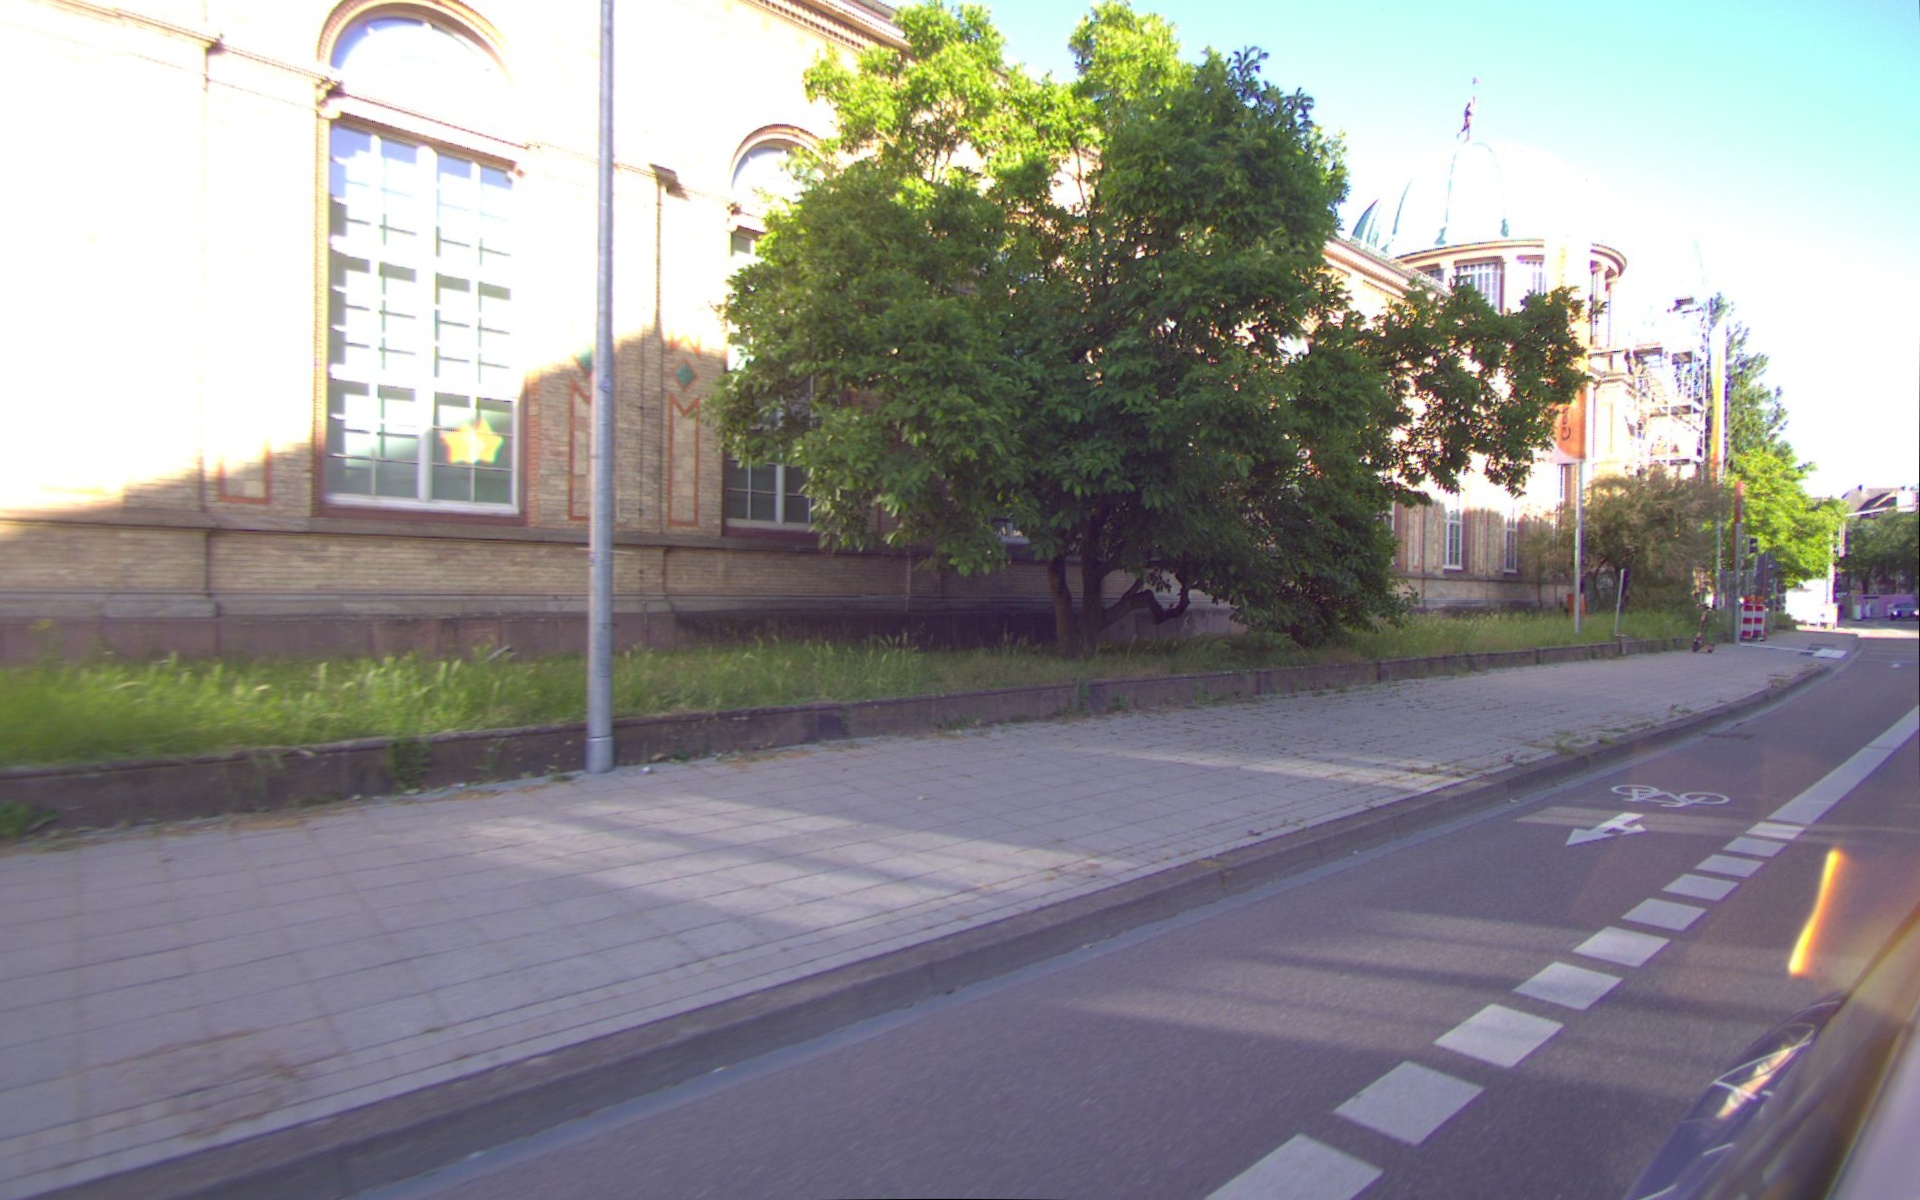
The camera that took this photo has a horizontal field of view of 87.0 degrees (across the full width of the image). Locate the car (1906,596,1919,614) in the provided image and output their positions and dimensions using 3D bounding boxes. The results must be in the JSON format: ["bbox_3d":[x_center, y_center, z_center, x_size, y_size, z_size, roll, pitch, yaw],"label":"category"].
[{"bbox_3d":[73.985,0.381,77.901,1.550,1.311,3.580,6,4,44],"label":"car"}]

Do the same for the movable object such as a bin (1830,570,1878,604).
[{"bbox_3d":[90.061,-1.324,102.033,3.155,3.341,4.327,2,2,37],"label":"movable object such as a bin"}]

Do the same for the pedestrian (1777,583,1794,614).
[{"bbox_3d":[51.894,-0.079,63.633,0.714,1.918,0.877,3,1,38],"label":"pedestrian"}]

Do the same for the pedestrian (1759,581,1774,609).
[{"bbox_3d":[50.660,-0.307,63.558,0.681,1.722,0.683,3,1,40],"label":"pedestrian"}]

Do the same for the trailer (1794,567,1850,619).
[{"bbox_3d":[45.747,-0.370,53.666,2.079,2.559,4.424,4,3,41],"label":"trailer"}]

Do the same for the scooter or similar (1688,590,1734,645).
[{"bbox_3d":[18.904,0.433,25.456,1.800,1.325,0.556,0,1,-42],"label":"scooter or similar"}]
